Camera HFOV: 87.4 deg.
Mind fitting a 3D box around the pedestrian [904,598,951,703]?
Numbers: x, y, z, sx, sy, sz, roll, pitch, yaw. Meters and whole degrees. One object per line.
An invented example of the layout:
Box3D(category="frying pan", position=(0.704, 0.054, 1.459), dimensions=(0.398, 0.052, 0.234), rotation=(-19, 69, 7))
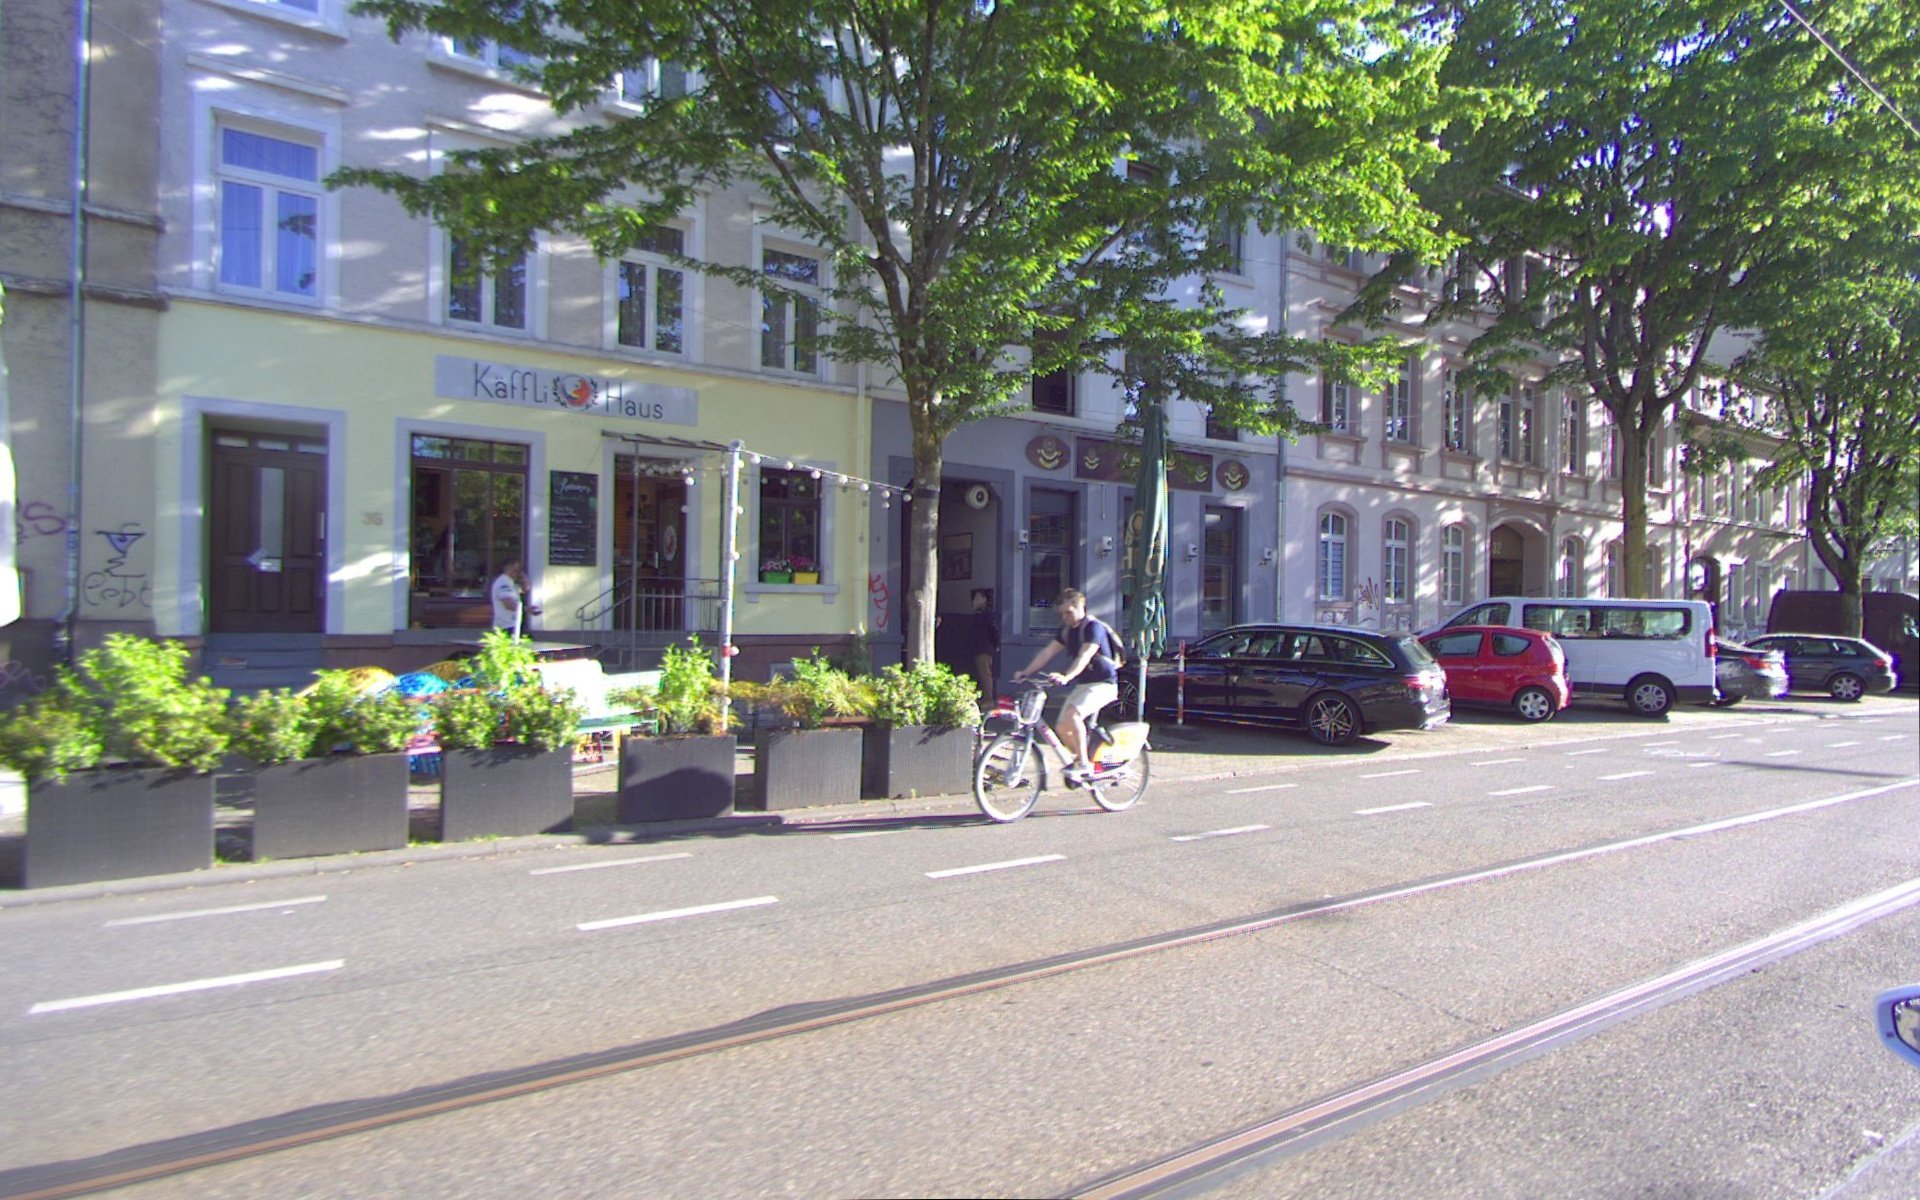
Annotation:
Box3D(category="pedestrian", position=(-0.525, 0.806, 16.248), dimensions=(0.564, 1.664, 0.534), rotation=(1, -2, -34))

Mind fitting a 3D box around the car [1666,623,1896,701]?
Box3D(category="car", position=(19.319, 1.389, 23.776), dimensions=(4.040, 1.438, 1.819), rotation=(4, 1, 42))

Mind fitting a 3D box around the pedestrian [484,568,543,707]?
Box3D(category="pedestrian", position=(-5.541, 0.464, 12.459), dimensions=(0.564, 1.664, 0.534), rotation=(1, -2, -34))

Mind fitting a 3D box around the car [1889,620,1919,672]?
Box3D(category="car", position=(32.598, 1.596, 32.065), dimensions=(1.813, 1.629, 4.054), rotation=(2, 1, -38))

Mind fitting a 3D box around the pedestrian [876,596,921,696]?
Box3D(category="pedestrian", position=(-1.040, 0.772, 17.029), dimensions=(0.564, 1.664, 0.534), rotation=(1, -2, -34))

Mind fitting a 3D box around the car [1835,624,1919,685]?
Box3D(category="car", position=(27.189, 1.537, 27.925), dimensions=(1.813, 1.629, 4.055), rotation=(2, 0, -38))

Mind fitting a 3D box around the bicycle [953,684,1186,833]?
Box3D(category="bicycle", position=(0.890, 1.186, 7.881), dimensions=(1.863, 0.965, 0.606), rotation=(1, -1, -33))

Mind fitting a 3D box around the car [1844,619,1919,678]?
Box3D(category="car", position=(28.915, 1.511, 29.563), dimensions=(1.813, 1.629, 4.054), rotation=(2, 1, -38))

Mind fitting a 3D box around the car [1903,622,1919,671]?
Box3D(category="car", position=(34.560, 1.692, 33.667), dimensions=(1.813, 1.629, 4.054), rotation=(2, 1, -38))

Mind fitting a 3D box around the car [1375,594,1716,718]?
Box3D(category="car", position=(10.713, 0.941, 18.688), dimensions=(5.259, 2.018, 2.032), rotation=(0, -1, 35))

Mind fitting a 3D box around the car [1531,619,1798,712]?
Box3D(category="car", position=(14.089, 1.231, 20.279), dimensions=(1.813, 1.438, 4.053), rotation=(2, 1, -39))

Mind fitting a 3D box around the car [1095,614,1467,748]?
Box3D(category="car", position=(4.292, 0.991, 13.795), dimensions=(4.568, 1.510, 1.683), rotation=(0, -1, 36))

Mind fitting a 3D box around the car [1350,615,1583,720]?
Box3D(category="car", position=(8.544, 1.056, 17.020), dimensions=(3.273, 1.523, 1.681), rotation=(0, 1, 38))

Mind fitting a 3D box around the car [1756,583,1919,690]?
Box3D(category="car", position=(24.808, 0.977, 26.765), dimensions=(2.223, 2.612, 5.146), rotation=(2, 1, -35))

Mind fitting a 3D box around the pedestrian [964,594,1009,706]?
Box3D(category="pedestrian", position=(0.421, 0.785, 15.931), dimensions=(0.498, 1.737, 0.536), rotation=(-1, -2, 44))

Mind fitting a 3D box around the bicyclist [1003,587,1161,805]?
Box3D(category="bicyclist", position=(0.961, 0.715, 7.938), dimensions=(1.018, 1.593, 0.720), rotation=(1, -1, -33))
